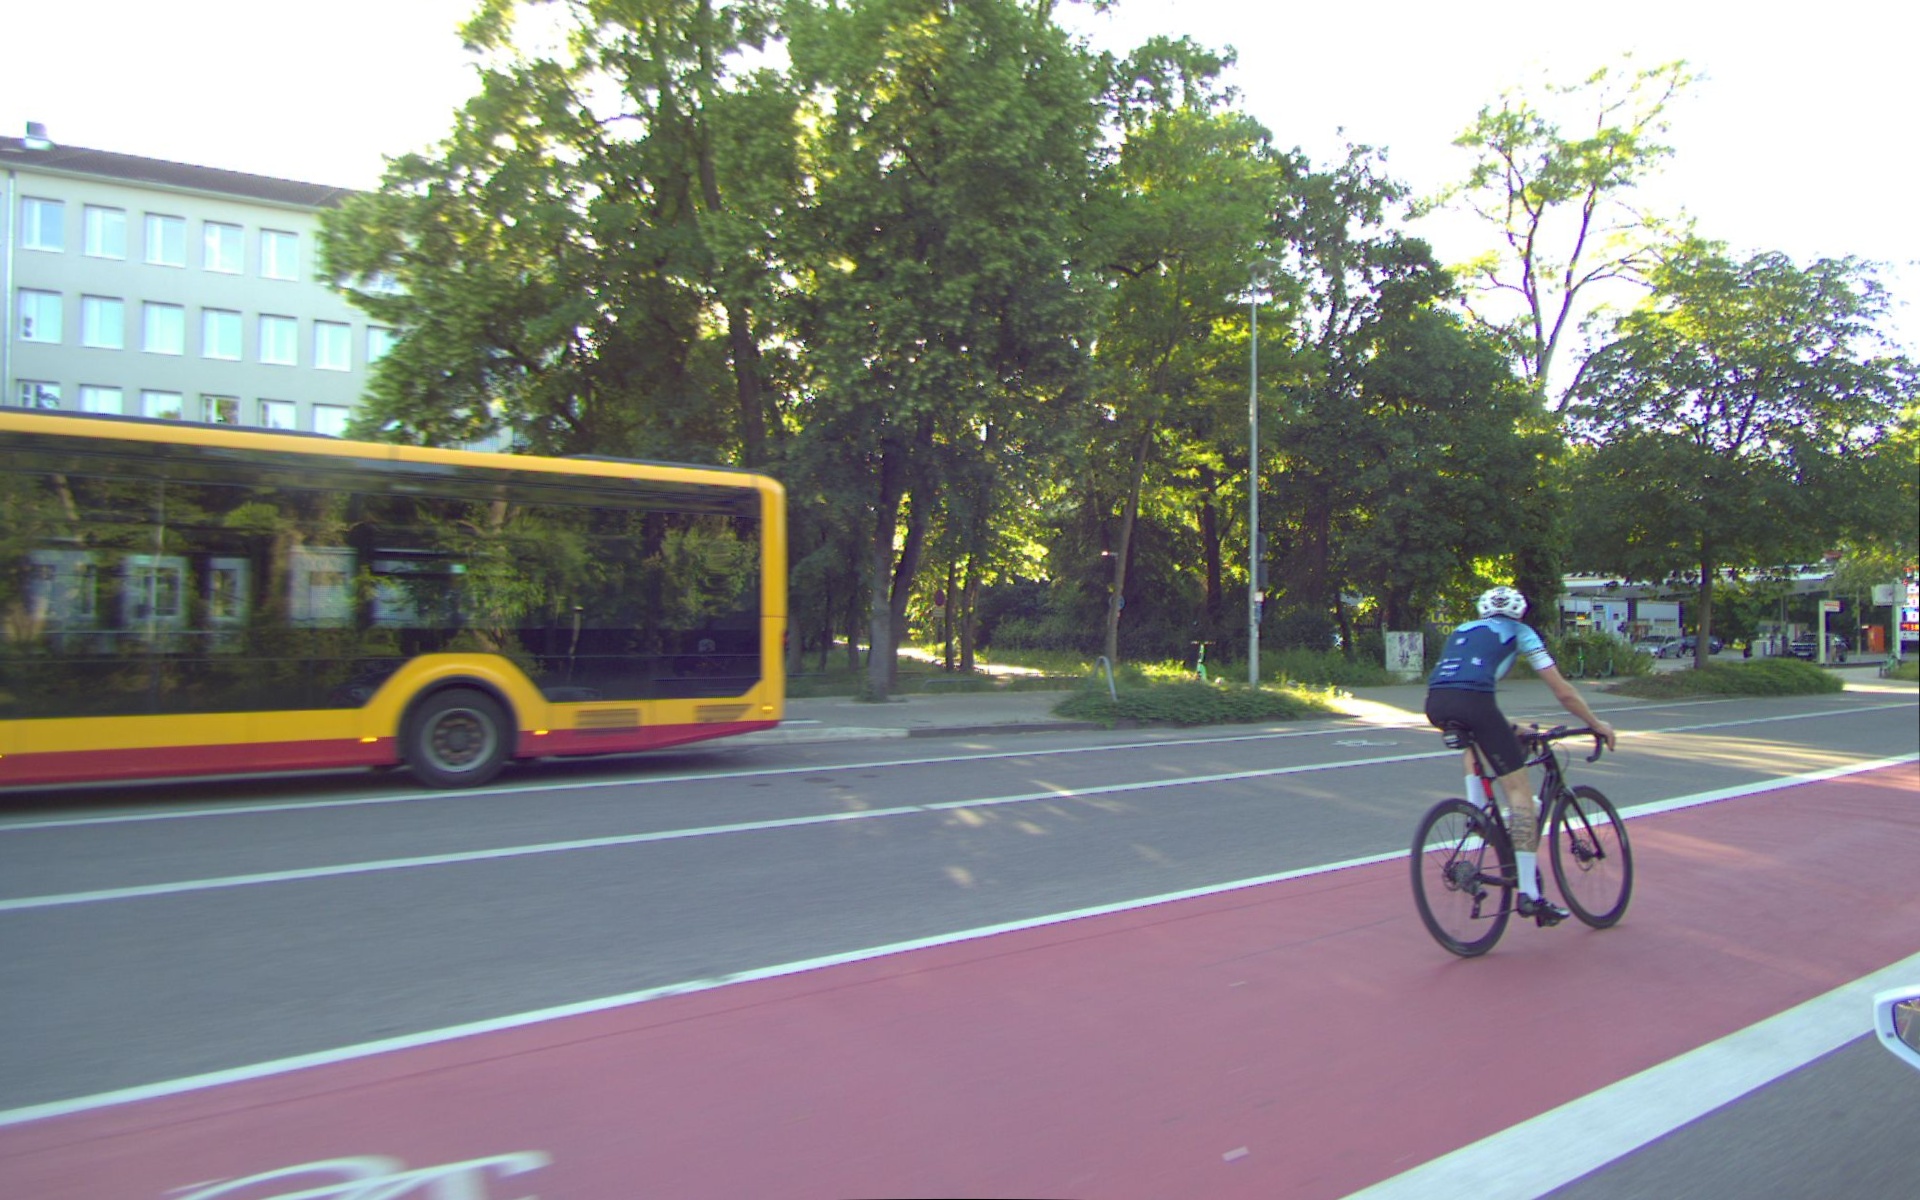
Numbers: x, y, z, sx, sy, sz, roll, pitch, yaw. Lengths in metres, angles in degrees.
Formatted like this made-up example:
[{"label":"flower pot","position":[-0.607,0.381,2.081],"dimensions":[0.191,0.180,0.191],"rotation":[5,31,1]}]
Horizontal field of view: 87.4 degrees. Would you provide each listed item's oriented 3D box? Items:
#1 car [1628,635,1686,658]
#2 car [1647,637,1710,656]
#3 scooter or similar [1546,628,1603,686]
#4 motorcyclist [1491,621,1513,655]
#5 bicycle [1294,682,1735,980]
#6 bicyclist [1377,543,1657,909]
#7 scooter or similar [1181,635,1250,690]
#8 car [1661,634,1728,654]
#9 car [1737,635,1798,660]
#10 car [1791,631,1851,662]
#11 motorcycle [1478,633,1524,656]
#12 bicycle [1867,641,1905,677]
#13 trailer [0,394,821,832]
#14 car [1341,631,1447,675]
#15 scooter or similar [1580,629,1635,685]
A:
[{"label":"car","position":[44.592,2.952,64.248],"dimensions":[4.017,1.394,1.701],"rotation":[1,-2,-33]},{"label":"car","position":[53.116,3.403,74.280],"dimensions":[3.584,1.371,1.706],"rotation":[-2,-3,44]},{"label":"scooter or similar","position":[19.048,1.747,31.132],"dimensions":[1.721,1.739,0.823],"rotation":[1,-2,-32]},{"label":"motorcyclist","position":[35.747,2.499,66.208],"dimensions":[0.996,2.211,1.125],"rotation":[0,-1,12]},{"label":"bicycle","position":[2.775,1.016,4.992],"dimensions":[2.108,1.110,0.888],"rotation":[1,0,-27]},{"label":"bicyclist","position":[2.715,0.555,4.946],"dimensions":[0.870,1.588,0.857],"rotation":[1,0,-27]},{"label":"scooter or similar","position":[6.343,1.539,24.974],"dimensions":[1.553,1.327,0.823],"rotation":[1,-2,-32]},{"label":"car","position":[59.058,3.543,80.789],"dimensions":[1.881,1.576,3.959],"rotation":[1,-2,-36]},{"label":"car","position":[51.123,2.990,63.590],"dimensions":[4.529,1.518,1.701],"rotation":[1,-2,-33]},{"label":"car","position":[49.387,2.669,57.598],"dimensions":[4.411,1.713,1.699],"rotation":[2,-2,-37]},{"label":"motorcycle","position":[35.628,2.948,66.218],"dimensions":[2.455,1.470,1.135],"rotation":[0,-2,12]},{"label":"bicycle","position":[33.860,2.136,36.709],"dimensions":[2.140,1.266,0.649],"rotation":[2,-2,-38]},{"label":"trailer","position":[-6.281,0.144,10.130],"dimensions":[9.252,3.400,2.841],"rotation":[2,0,-30]},{"label":"car","position":[16.788,2.032,38.941],"dimensions":[3.422,1.673,1.563],"rotation":[0,-2,0]},{"label":"scooter or similar","position":[20.700,1.798,32.112],"dimensions":[1.721,1.739,0.823],"rotation":[1,-2,-32]}]
